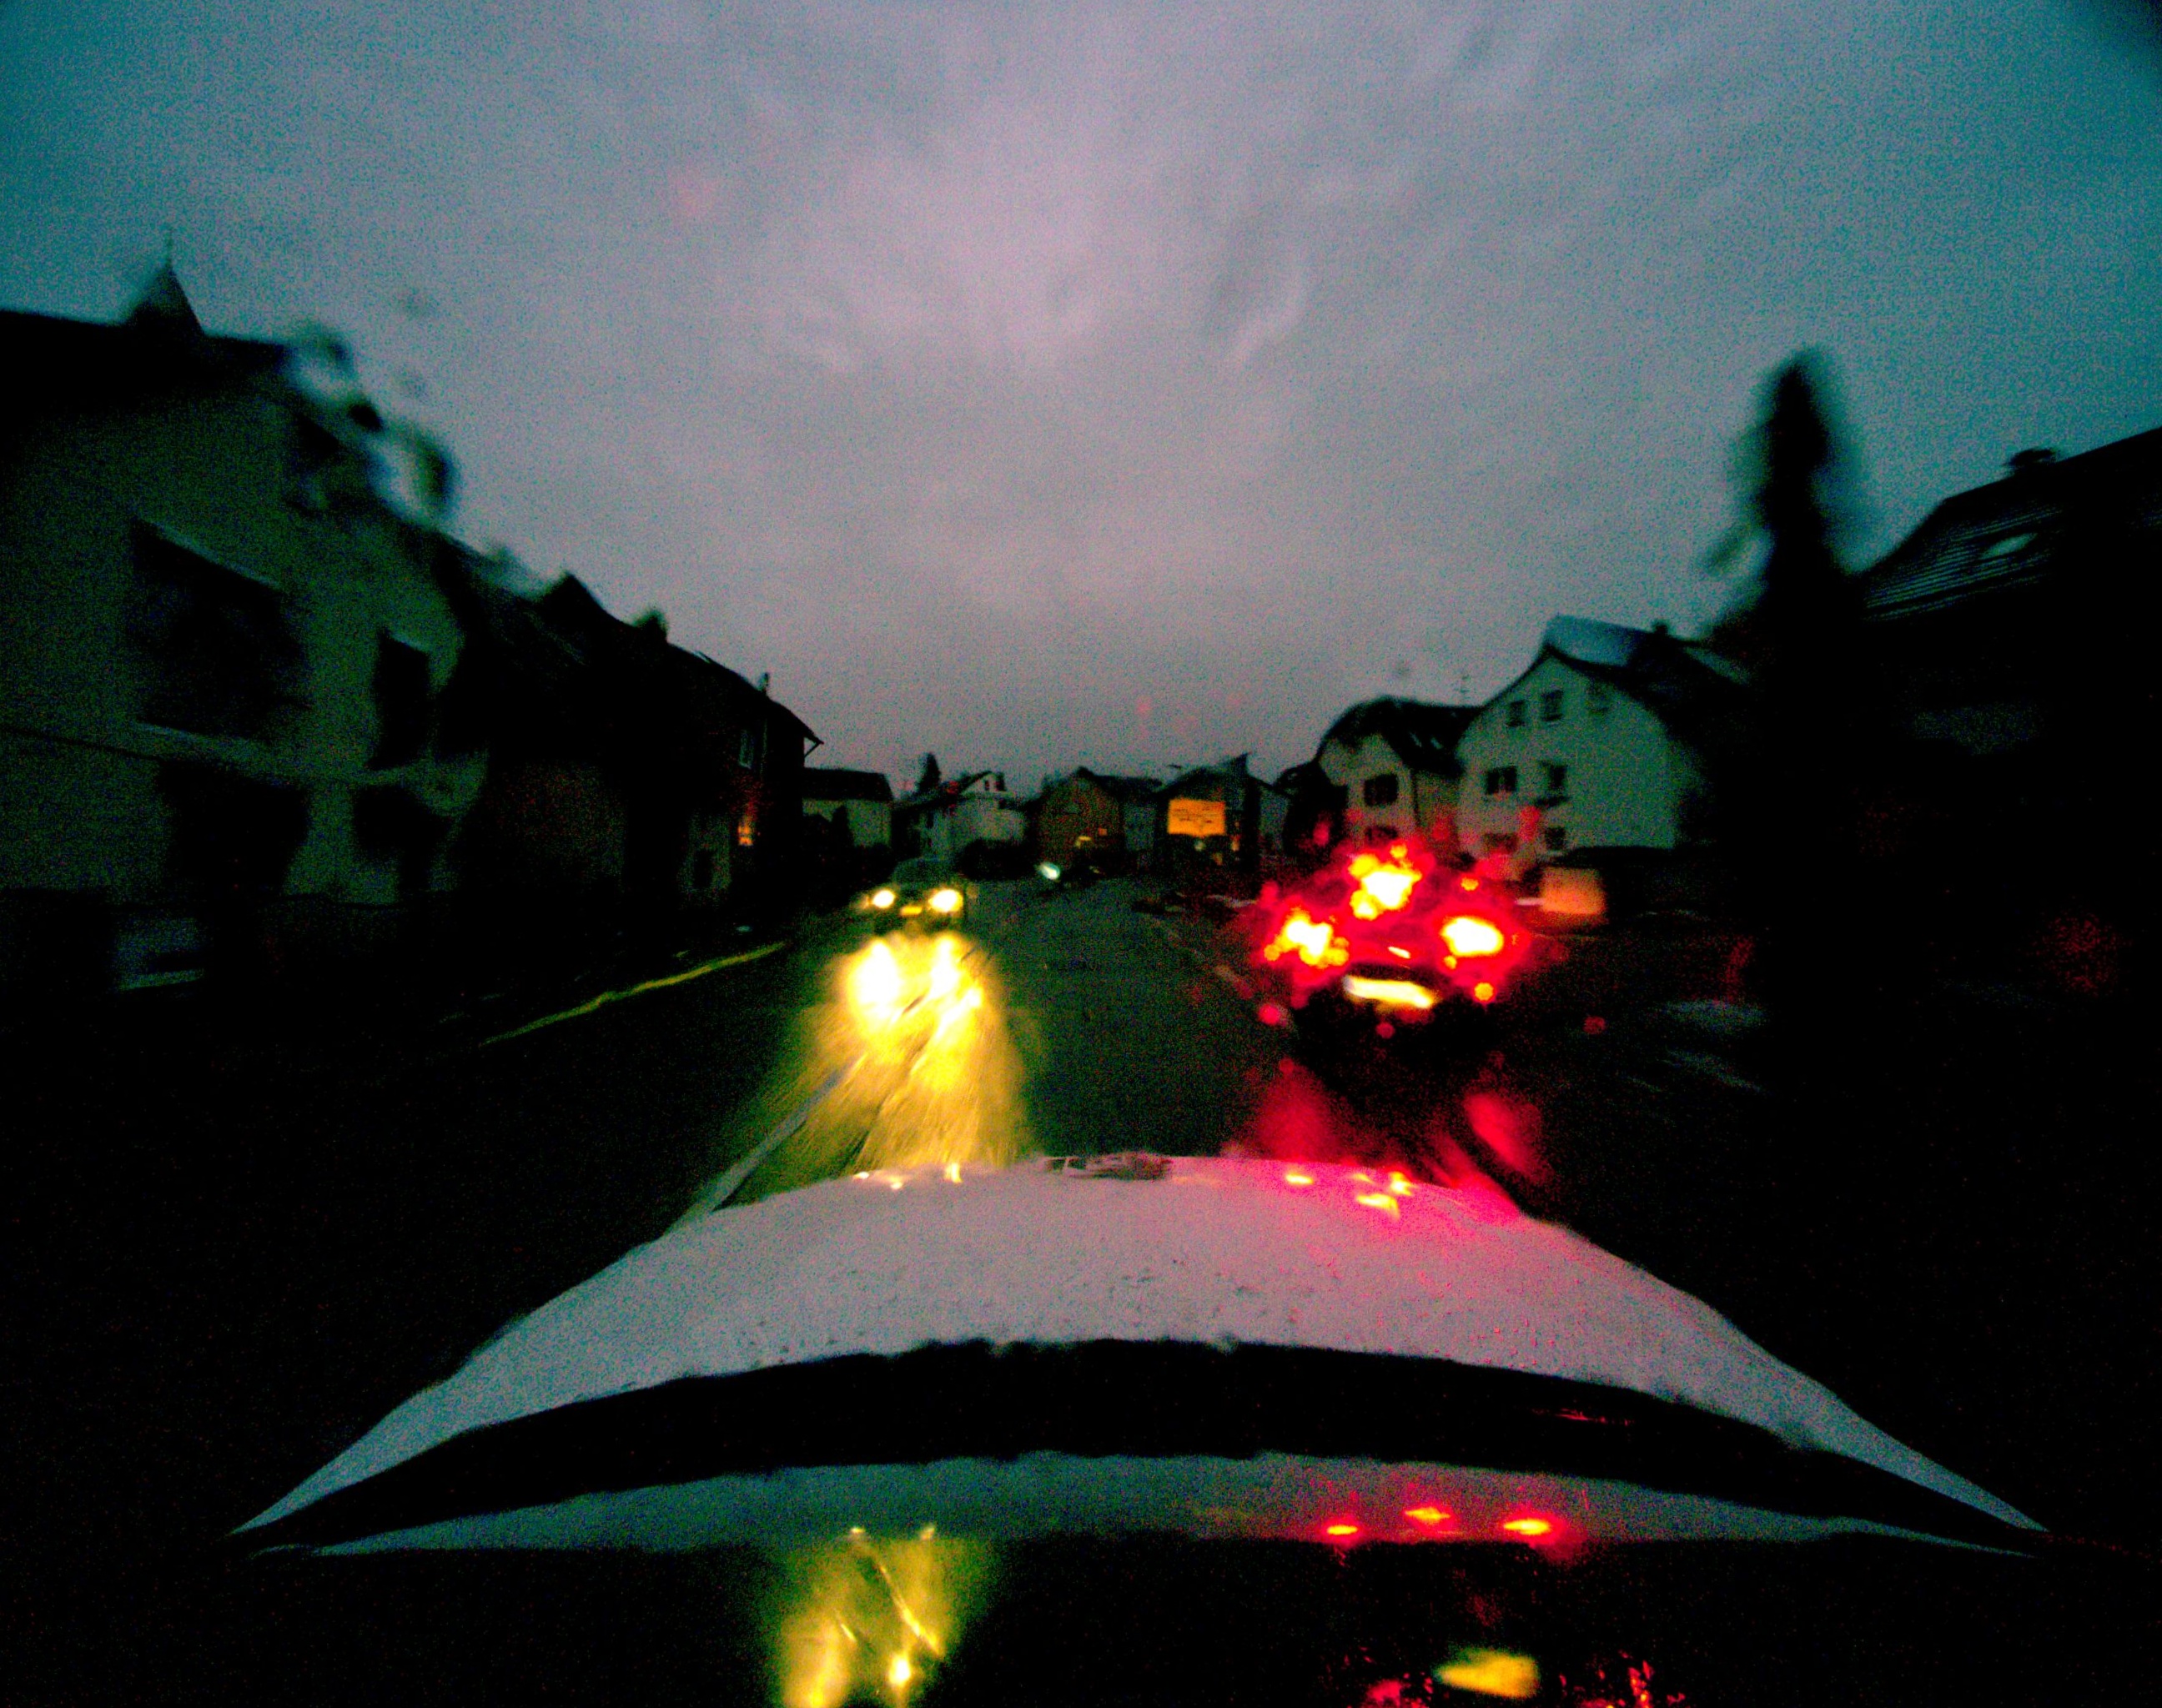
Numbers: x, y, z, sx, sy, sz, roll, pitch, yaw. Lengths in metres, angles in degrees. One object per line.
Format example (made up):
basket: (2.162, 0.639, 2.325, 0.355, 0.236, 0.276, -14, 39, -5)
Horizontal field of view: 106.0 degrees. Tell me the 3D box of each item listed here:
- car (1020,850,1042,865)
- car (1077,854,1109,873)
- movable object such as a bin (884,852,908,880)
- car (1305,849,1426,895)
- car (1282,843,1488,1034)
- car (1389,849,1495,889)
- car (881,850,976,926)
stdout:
car: (-5.546, 0.374, 89.989, 1.994, 1.644, 3.985, 0, 0, -11)
car: (1.037, 0.808, 71.067, 1.994, 1.644, 3.985, 0, 0, -11)
movable object such as a bin: (-10.298, 0.653, 45.404, 1.093, 1.543, 1.287, 0, 0, -3)
car: (11.163, 0.707, 32.267, 1.819, 1.628, 4.511, -2, 0, -27)
car: (3.108, 0.658, 8.257, 1.532, 1.466, 3.718, -1, 0, 22)
car: (15.819, 0.656, 35.852, 1.819, 1.566, 3.965, -2, 0, -27)
car: (-3.603, 0.732, 19.838, 1.909, 1.653, 3.992, 0, 0, -6)
